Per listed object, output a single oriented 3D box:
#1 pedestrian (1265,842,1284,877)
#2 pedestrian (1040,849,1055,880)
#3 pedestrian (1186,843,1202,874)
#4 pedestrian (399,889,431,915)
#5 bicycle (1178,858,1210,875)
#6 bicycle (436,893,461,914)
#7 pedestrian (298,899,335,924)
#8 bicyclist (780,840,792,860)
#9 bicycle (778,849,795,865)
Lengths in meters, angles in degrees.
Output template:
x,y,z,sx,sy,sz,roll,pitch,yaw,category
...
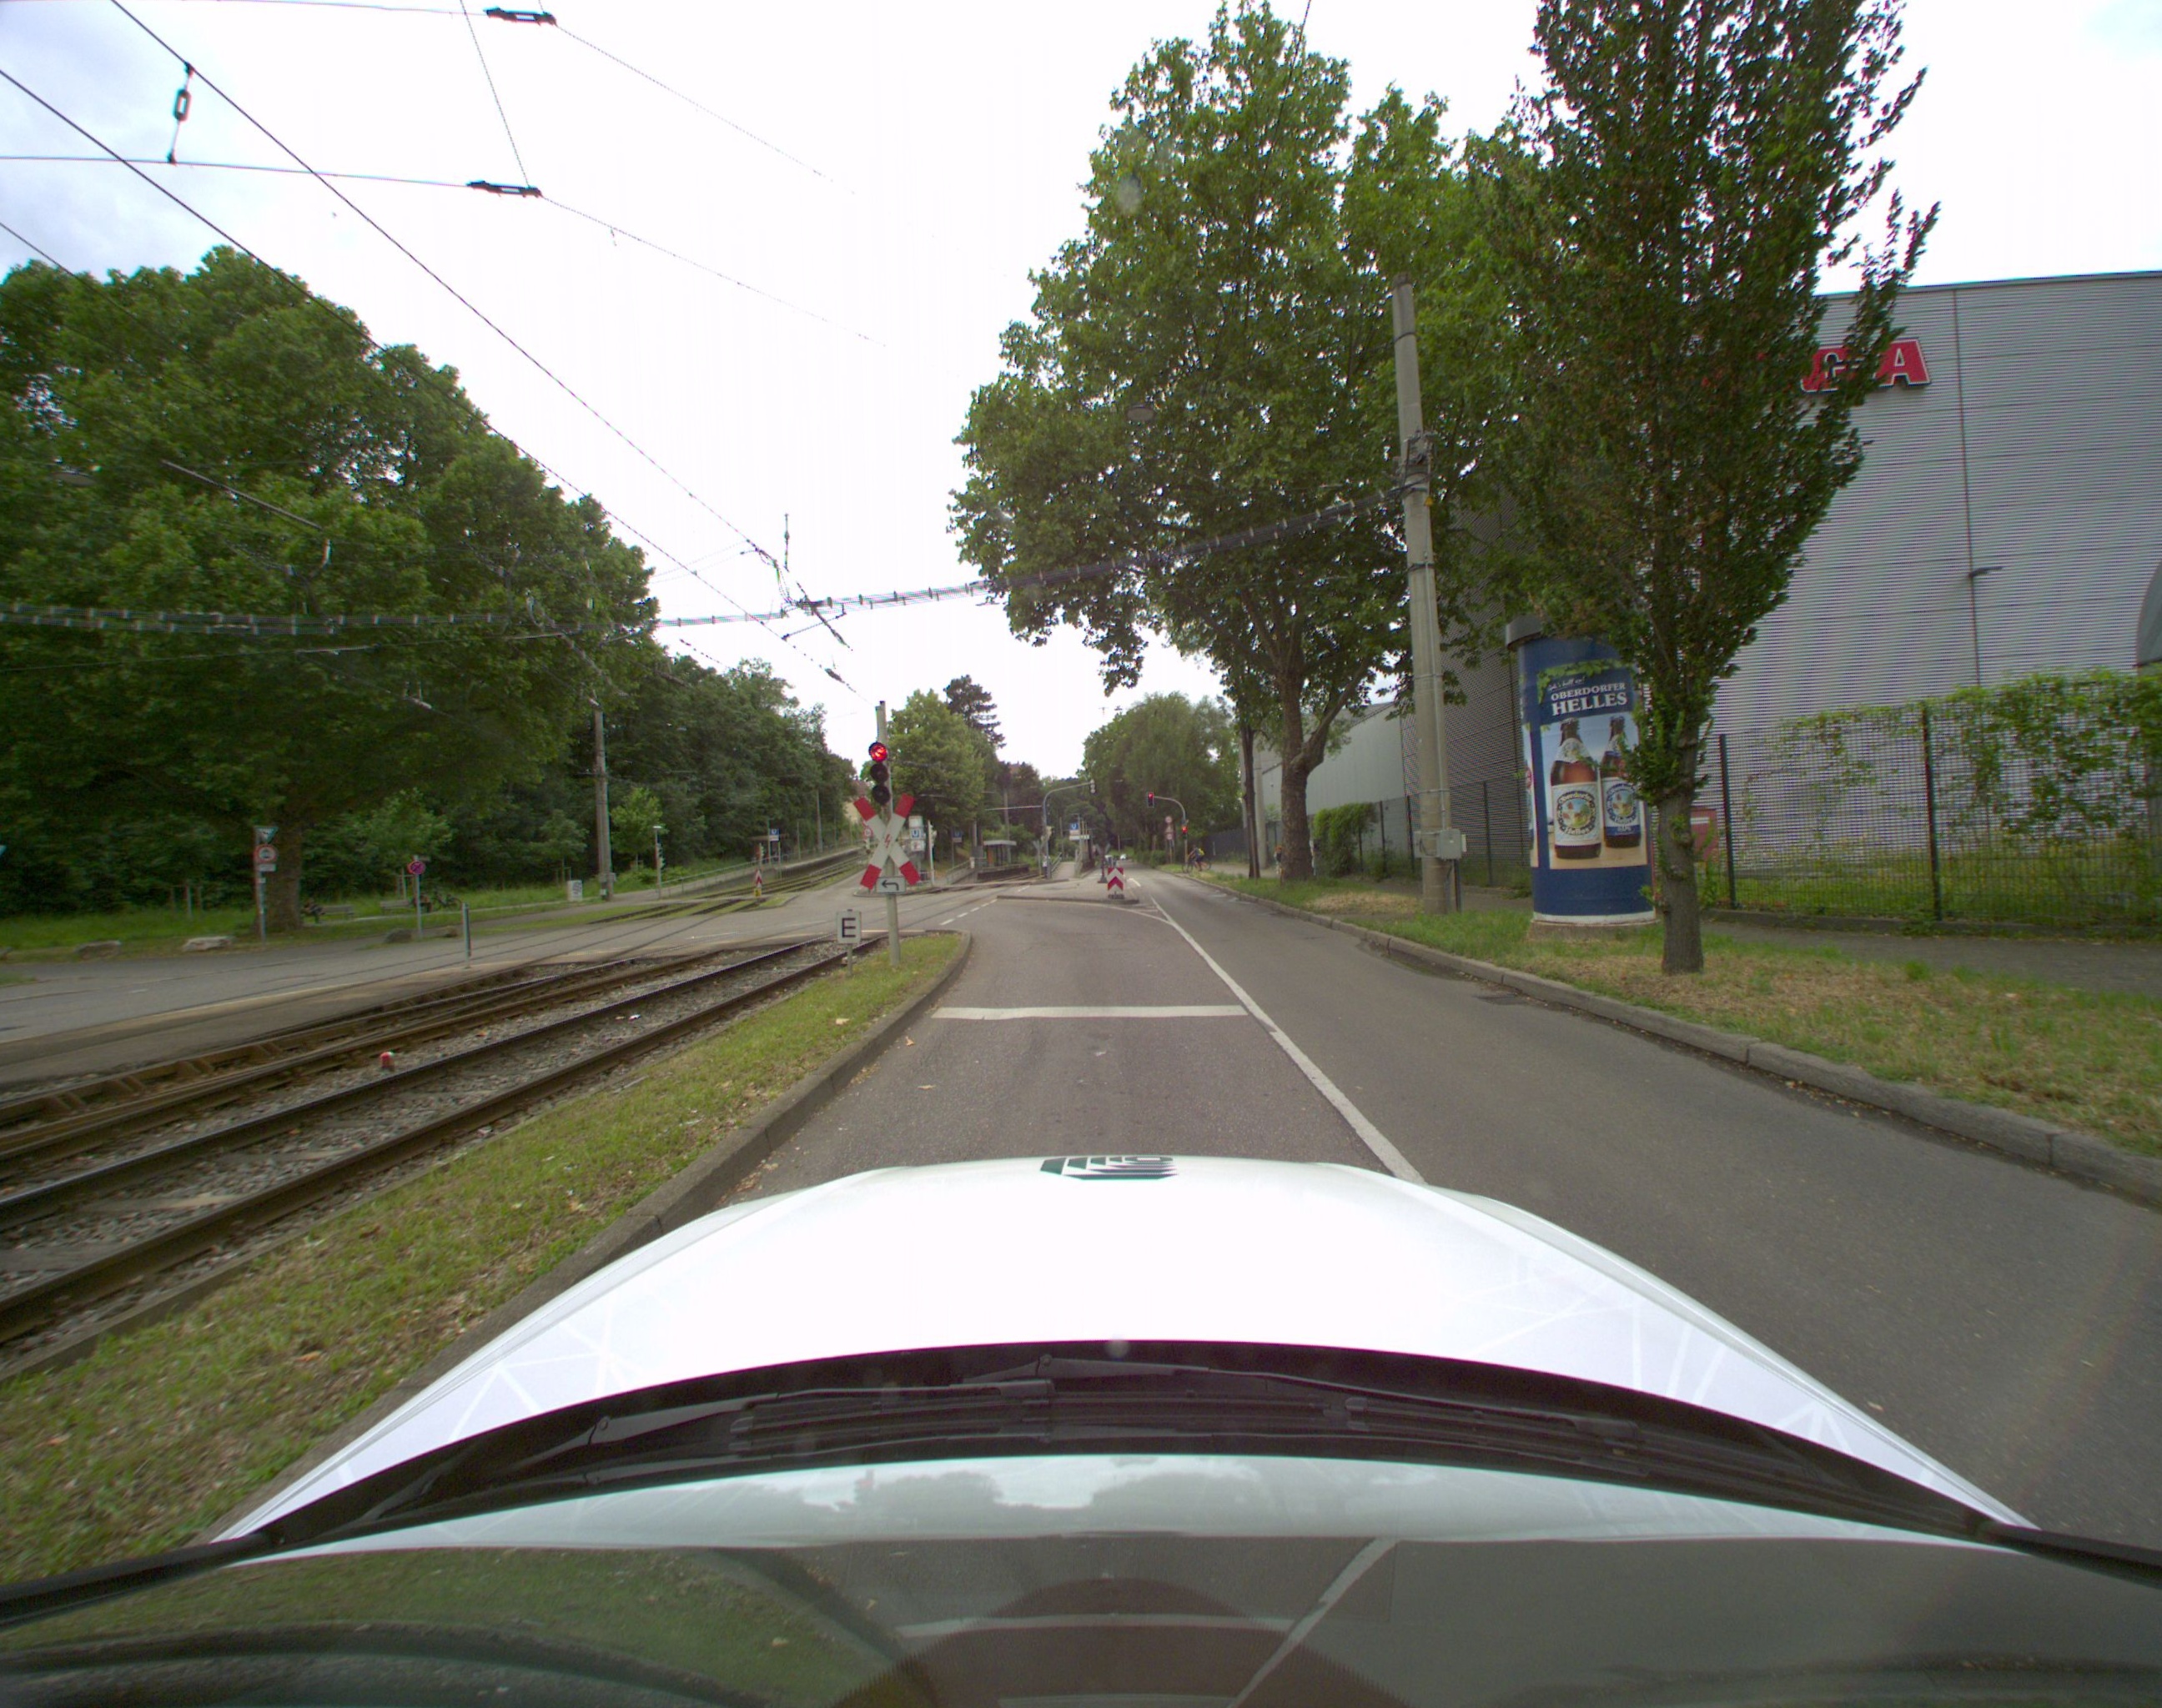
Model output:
x,y,z,sx,sy,sz,roll,pitch,yaw,category
9.101,0.256,38.341,0.662,1.553,0.936,-3,0,8,pedestrian
-2.084,0.660,50.359,0.768,1.852,0.908,-3,0,-7,pedestrian
7.458,0.298,53.860,0.926,2.013,0.669,-3,-1,7,pedestrian
-33.423,2.402,40.874,1.102,1.268,1.063,-2,-2,39,pedestrian
7.460,0.831,53.811,2.063,1.007,0.669,-3,0,7,bicycle
-32.502,2.547,41.854,1.631,1.012,0.680,-2,-2,39,bicycle
-34.917,2.622,37.203,0.894,1.095,1.088,-2,-2,37,pedestrian
-29.199,-0.384,80.625,0.820,1.848,1.049,-3,2,-6,bicyclist
-29.171,0.282,80.836,0.823,1.343,2.990,-4,3,-6,bicycle
